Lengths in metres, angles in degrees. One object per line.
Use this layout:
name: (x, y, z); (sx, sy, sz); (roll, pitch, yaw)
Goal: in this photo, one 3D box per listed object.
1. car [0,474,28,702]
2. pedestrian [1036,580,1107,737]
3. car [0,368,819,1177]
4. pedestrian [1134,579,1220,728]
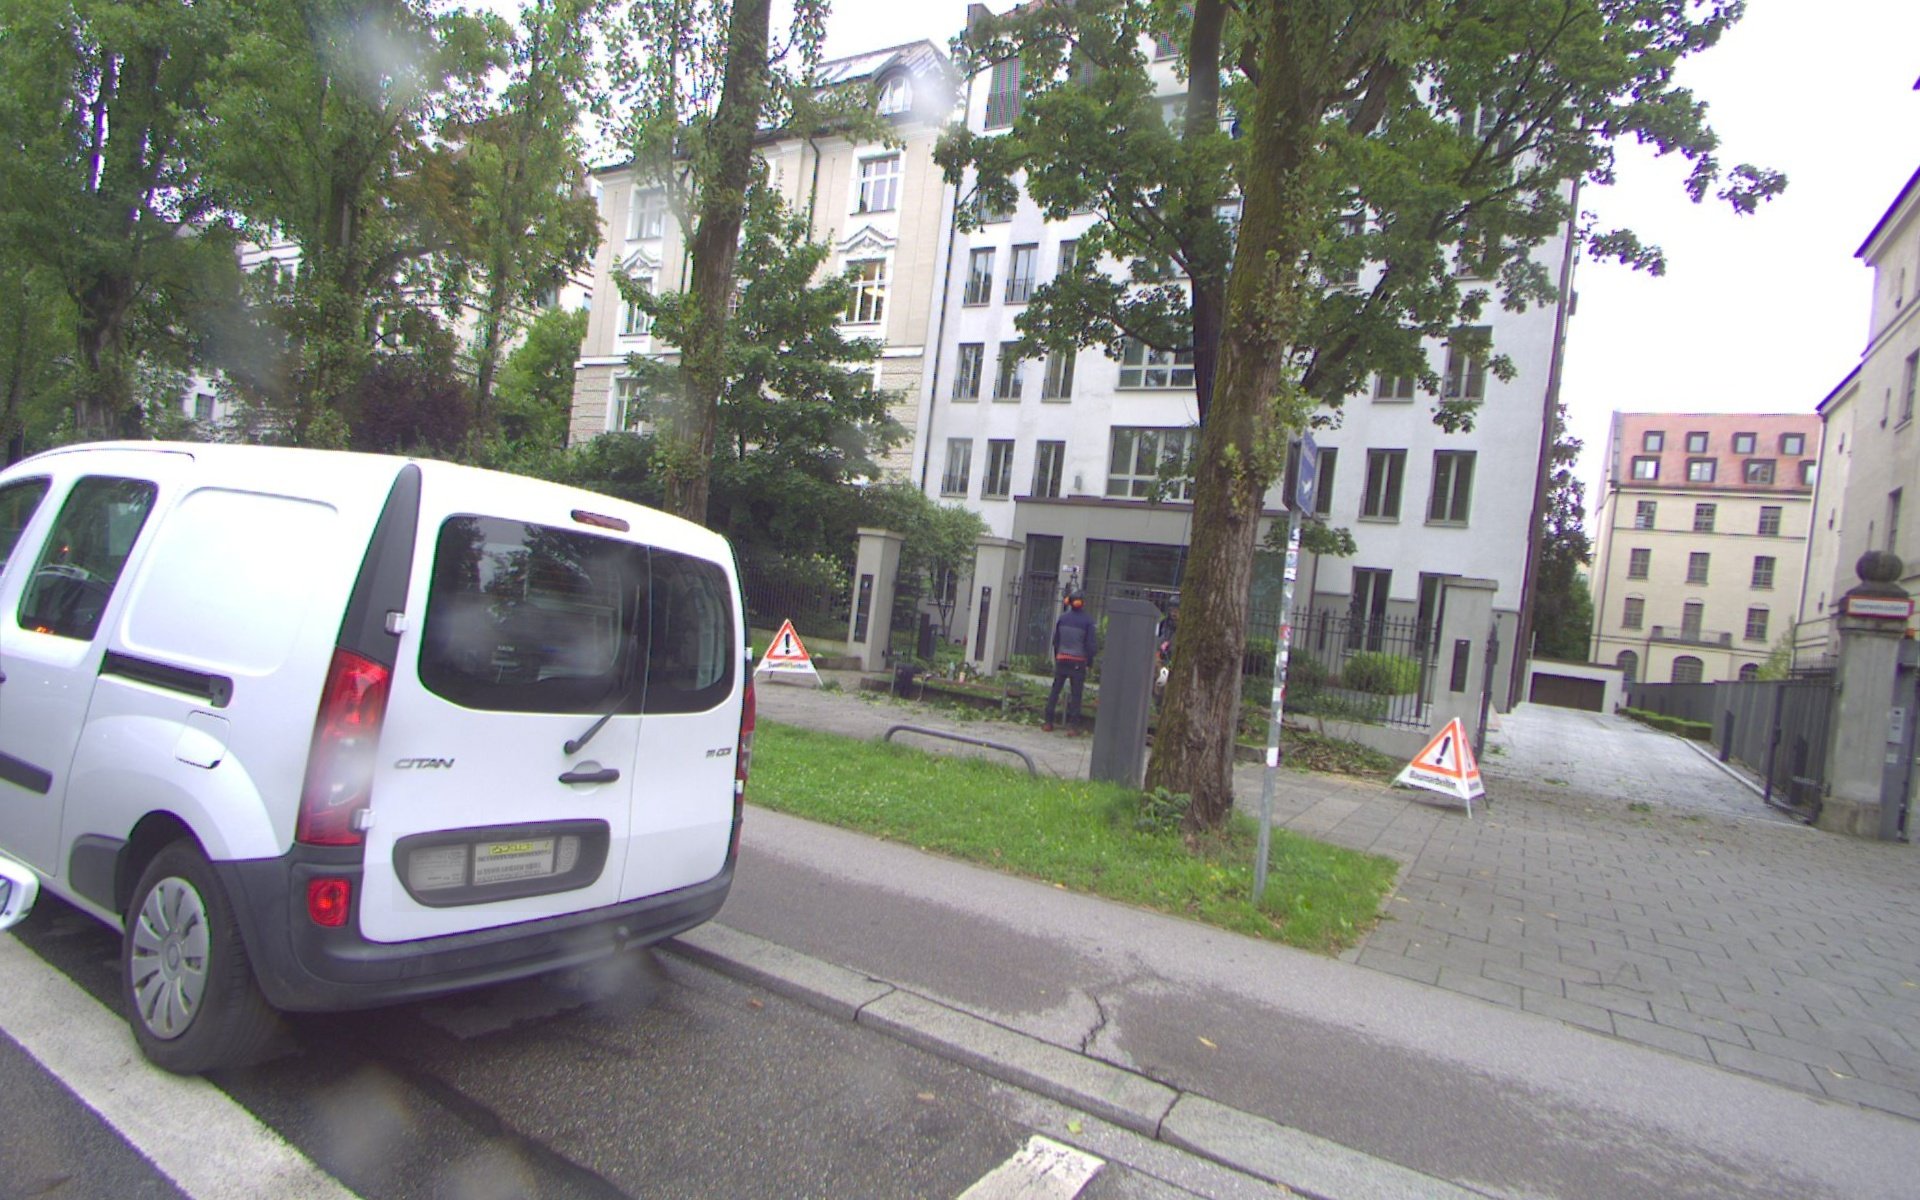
car: (-8.956, -0.352, 7.522); (4.141, 1.612, 1.743); (7, 0, 31)
pedestrian: (1.426, 0.735, 12.807); (0.626, 1.886, 0.488); (7, 1, 14)
car: (-2.875, 0.257, 4.183); (4.097, 1.904, 1.854); (7, 0, 30)
pedestrian: (2.879, 0.699, 13.463); (0.814, 1.823, 0.904); (9, 2, 10)
